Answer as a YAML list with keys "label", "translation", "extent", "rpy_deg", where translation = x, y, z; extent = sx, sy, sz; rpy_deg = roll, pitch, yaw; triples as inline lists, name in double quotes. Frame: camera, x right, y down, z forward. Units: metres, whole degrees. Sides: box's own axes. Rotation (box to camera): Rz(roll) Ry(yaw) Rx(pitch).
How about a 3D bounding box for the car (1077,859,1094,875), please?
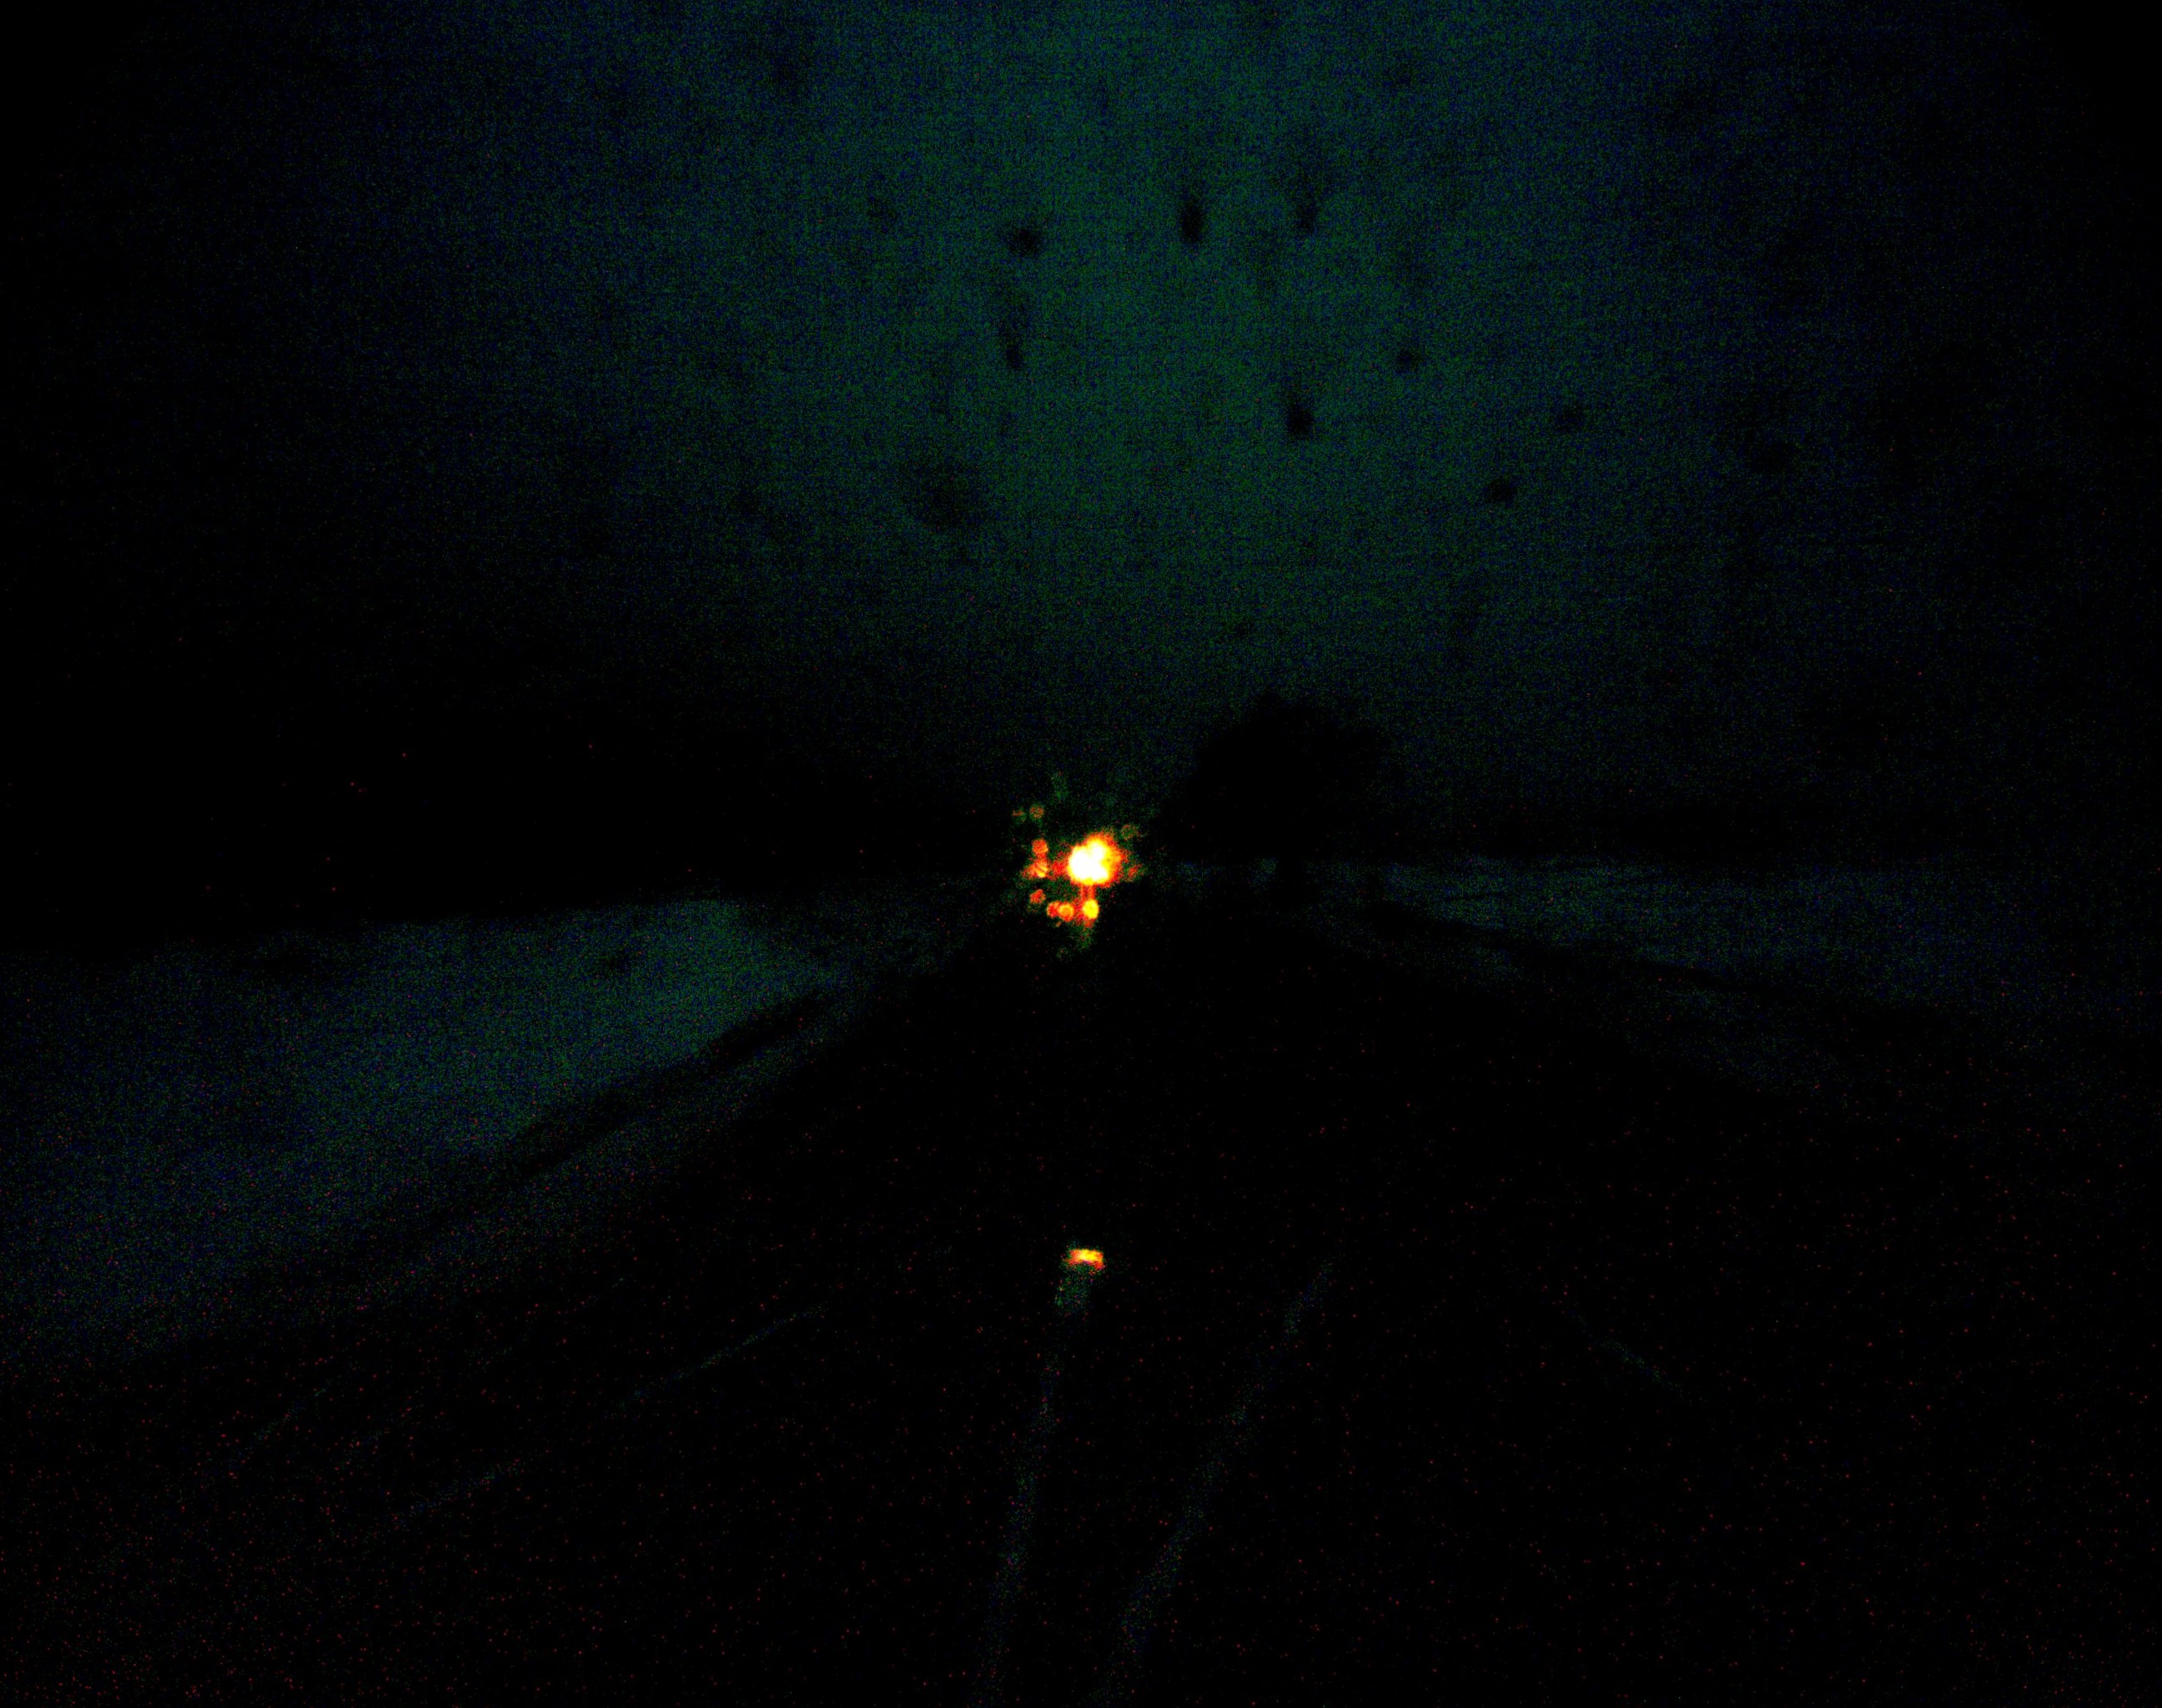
- label: "car"
  translation: [0.649, 1.853, 106.595]
  extent: [1.998, 2.002, 4.001]
  rpy_deg: [-3, 0, 4]
